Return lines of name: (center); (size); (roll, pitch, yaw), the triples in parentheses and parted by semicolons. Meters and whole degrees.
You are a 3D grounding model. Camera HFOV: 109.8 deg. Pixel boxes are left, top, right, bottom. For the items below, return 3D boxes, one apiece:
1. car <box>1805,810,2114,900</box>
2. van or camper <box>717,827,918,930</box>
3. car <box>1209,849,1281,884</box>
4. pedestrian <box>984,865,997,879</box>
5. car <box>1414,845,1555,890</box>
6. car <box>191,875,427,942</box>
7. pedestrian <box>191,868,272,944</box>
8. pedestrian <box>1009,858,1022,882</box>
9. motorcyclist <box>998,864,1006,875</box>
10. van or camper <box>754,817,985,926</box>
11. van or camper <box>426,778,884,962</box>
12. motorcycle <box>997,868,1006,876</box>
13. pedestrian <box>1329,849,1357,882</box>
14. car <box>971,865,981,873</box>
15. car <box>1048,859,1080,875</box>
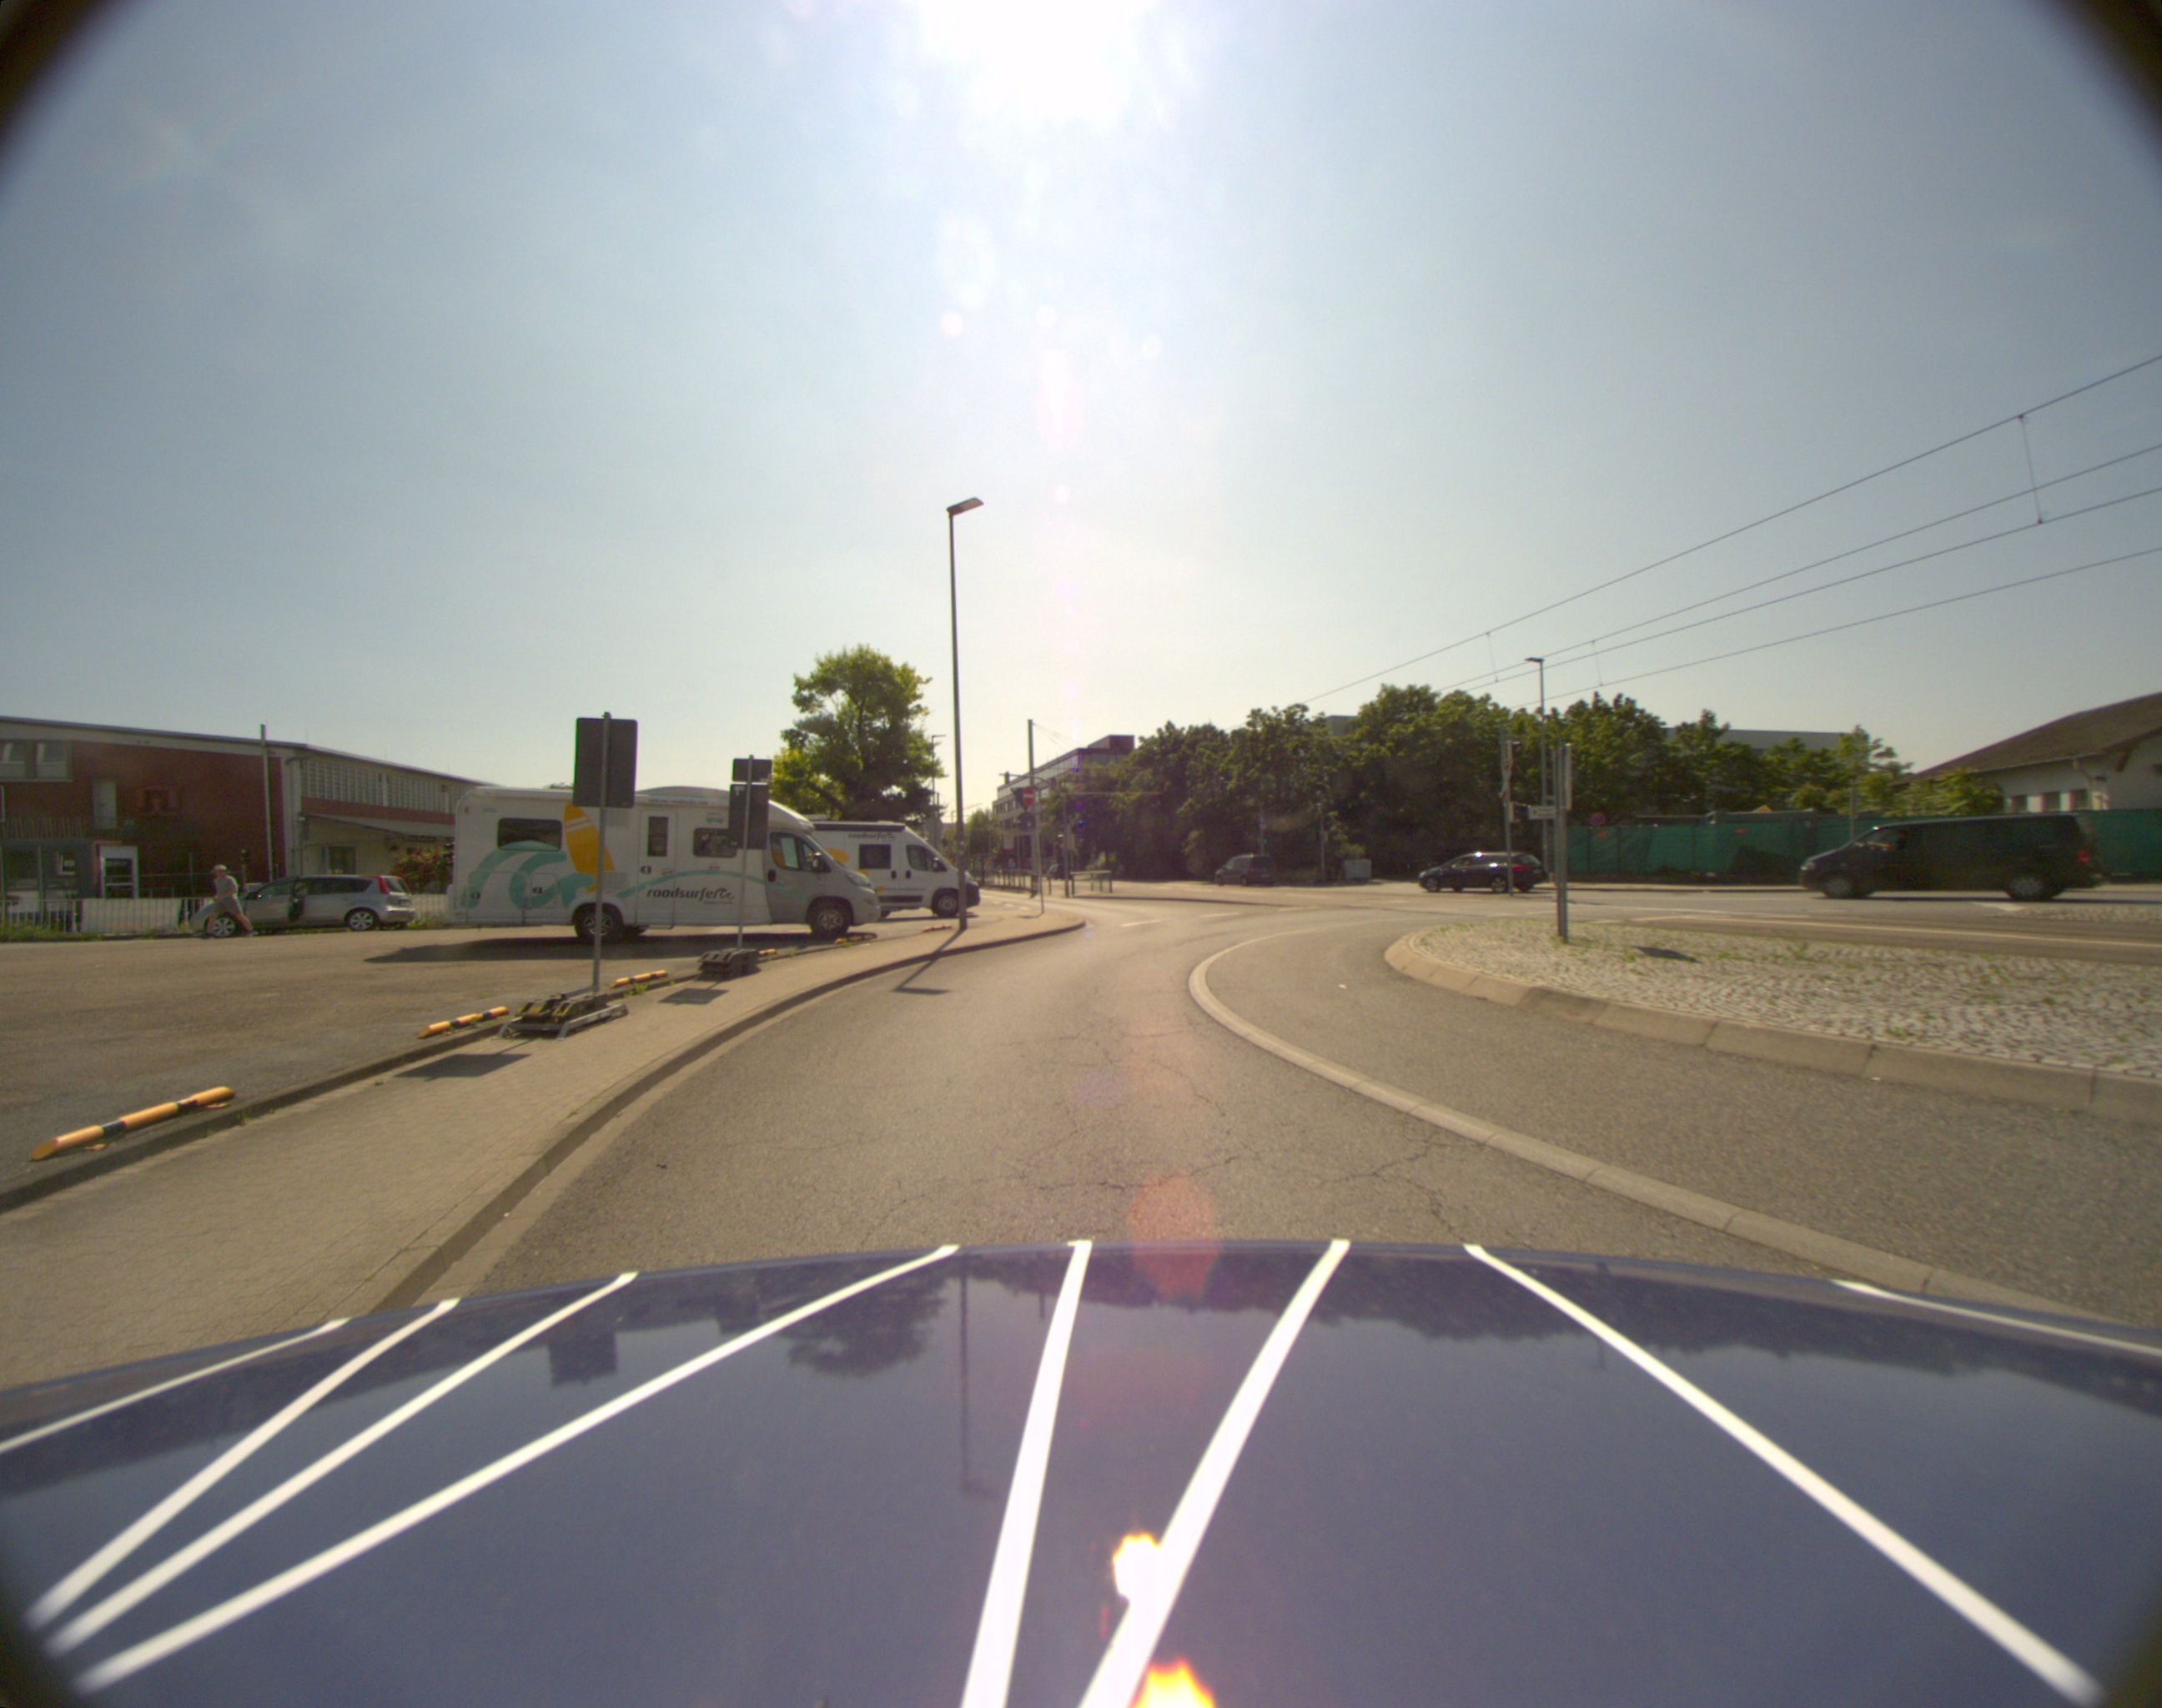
car: (21.185, 0.090, 18.578); (2.101, 1.898, 4.629); (-1, -1, -32)
van or camper: (-7.920, 0.723, 23.366); (5.526, 2.797, 2.046); (-2, -2, -13)
car: (9.253, 0.713, 43.179); (1.991, 1.807, 4.403); (-2, 0, -18)
pedestrian: (-7.618, 1.491, 63.712); (0.946, 1.092, 0.725); (-2, -1, -17)
car: (15.137, 0.529, 28.680); (1.973, 1.546, 4.232); (-1, -2, -38)
car: (-19.837, 1.386, 19.757); (3.899, 1.505, 1.814); (-1, -3, -21)
pedestrian: (-19.205, 1.154, 17.202); (0.777, 1.661, 0.945); (-1, 0, -6)
pedestrian: (-4.971, 1.220, 57.584); (0.727, 1.714, 0.943); (-3, 0, -17)
motorcyclist: (-11.050, 2.154, 105.930); (0.839, 1.466, 0.961); (-2, 0, -19)
van or camper: (-5.718, 0.443, 21.004); (5.833, 2.757, 2.088); (-1, -1, -15)
van or camper: (-7.415, 0.282, 14.297); (7.090, 2.929, 2.331); (0, 0, -17)
motorcycle: (-11.124, 2.537, 106.190); (0.826, 1.005, 1.961); (-2, 0, -19)
pedestrian: (14.346, 0.618, 41.657); (0.889, 1.662, 1.157); (-5, 6, -18)
car: (-21.711, 3.155, 157.573); (1.873, 1.608, 3.997); (-1, -1, -10)
car: (-1.752, 1.302, 77.055); (1.935, 1.574, 4.183); (2, 0, -22)
